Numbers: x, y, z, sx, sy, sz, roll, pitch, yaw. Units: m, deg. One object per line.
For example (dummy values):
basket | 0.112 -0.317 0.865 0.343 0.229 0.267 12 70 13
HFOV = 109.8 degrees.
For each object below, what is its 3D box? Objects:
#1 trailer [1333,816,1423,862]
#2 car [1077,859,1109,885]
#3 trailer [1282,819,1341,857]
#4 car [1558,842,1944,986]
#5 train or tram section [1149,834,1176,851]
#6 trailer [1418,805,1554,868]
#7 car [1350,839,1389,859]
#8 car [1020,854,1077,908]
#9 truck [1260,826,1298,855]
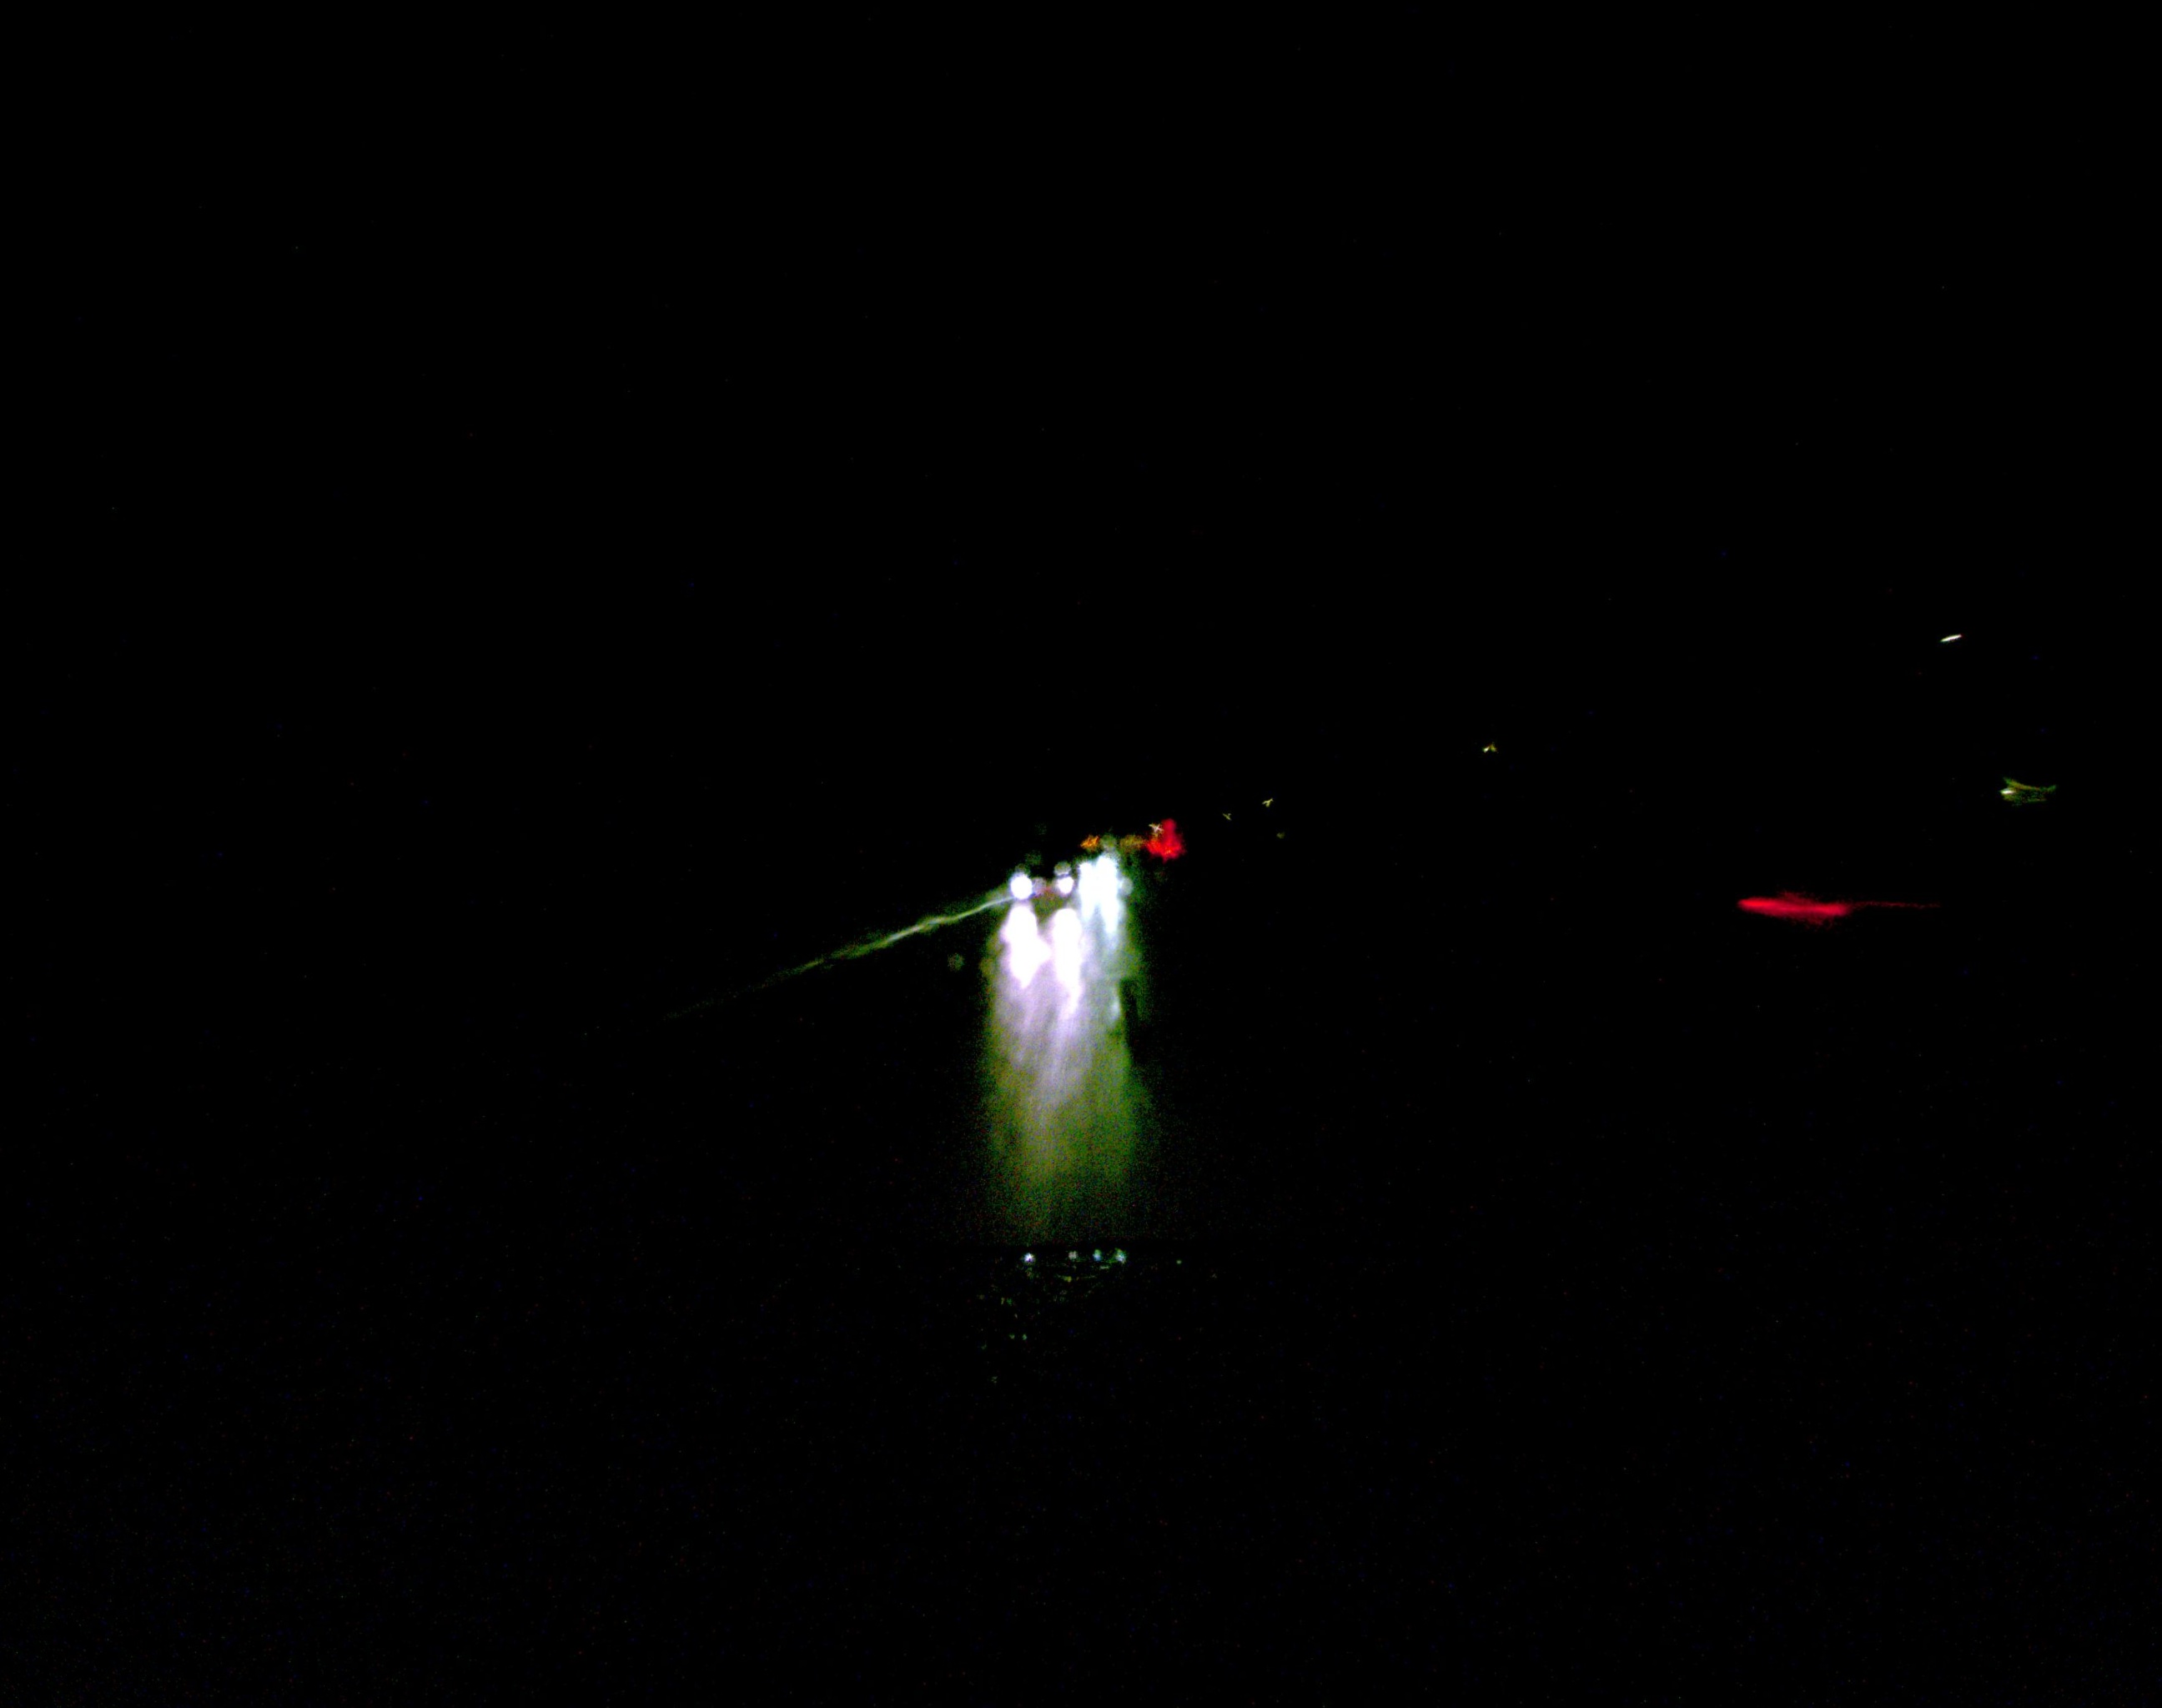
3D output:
trailer | 34.530 -1.695 89.389 3.981 4.583 15.511 -5 1 -1
car | 0.789 1.247 53.365 1.789 1.638 4.434 -2 0 -4
trailer | 34.720 -2.382 115.484 3.981 4.984 14.831 -5 1 -1
car | 9.080 0.684 10.857 1.807 1.579 4.029 -3 1 -3
train or tram section | 20.942 -2.963 198.143 2.703 3.793 37.137 -5 1 0
trailer | 35.285 -1.493 67.383 3.981 4.583 14.244 -5 1 -1
car | 26.791 -0.418 70.693 1.791 1.684 4.218 -4 0 -2
car | -1.158 0.903 26.811 1.791 1.684 4.218 -2 0 -3
truck | 34.387 -2.348 132.610 3.448 4.583 10.210 -5 1 -1
